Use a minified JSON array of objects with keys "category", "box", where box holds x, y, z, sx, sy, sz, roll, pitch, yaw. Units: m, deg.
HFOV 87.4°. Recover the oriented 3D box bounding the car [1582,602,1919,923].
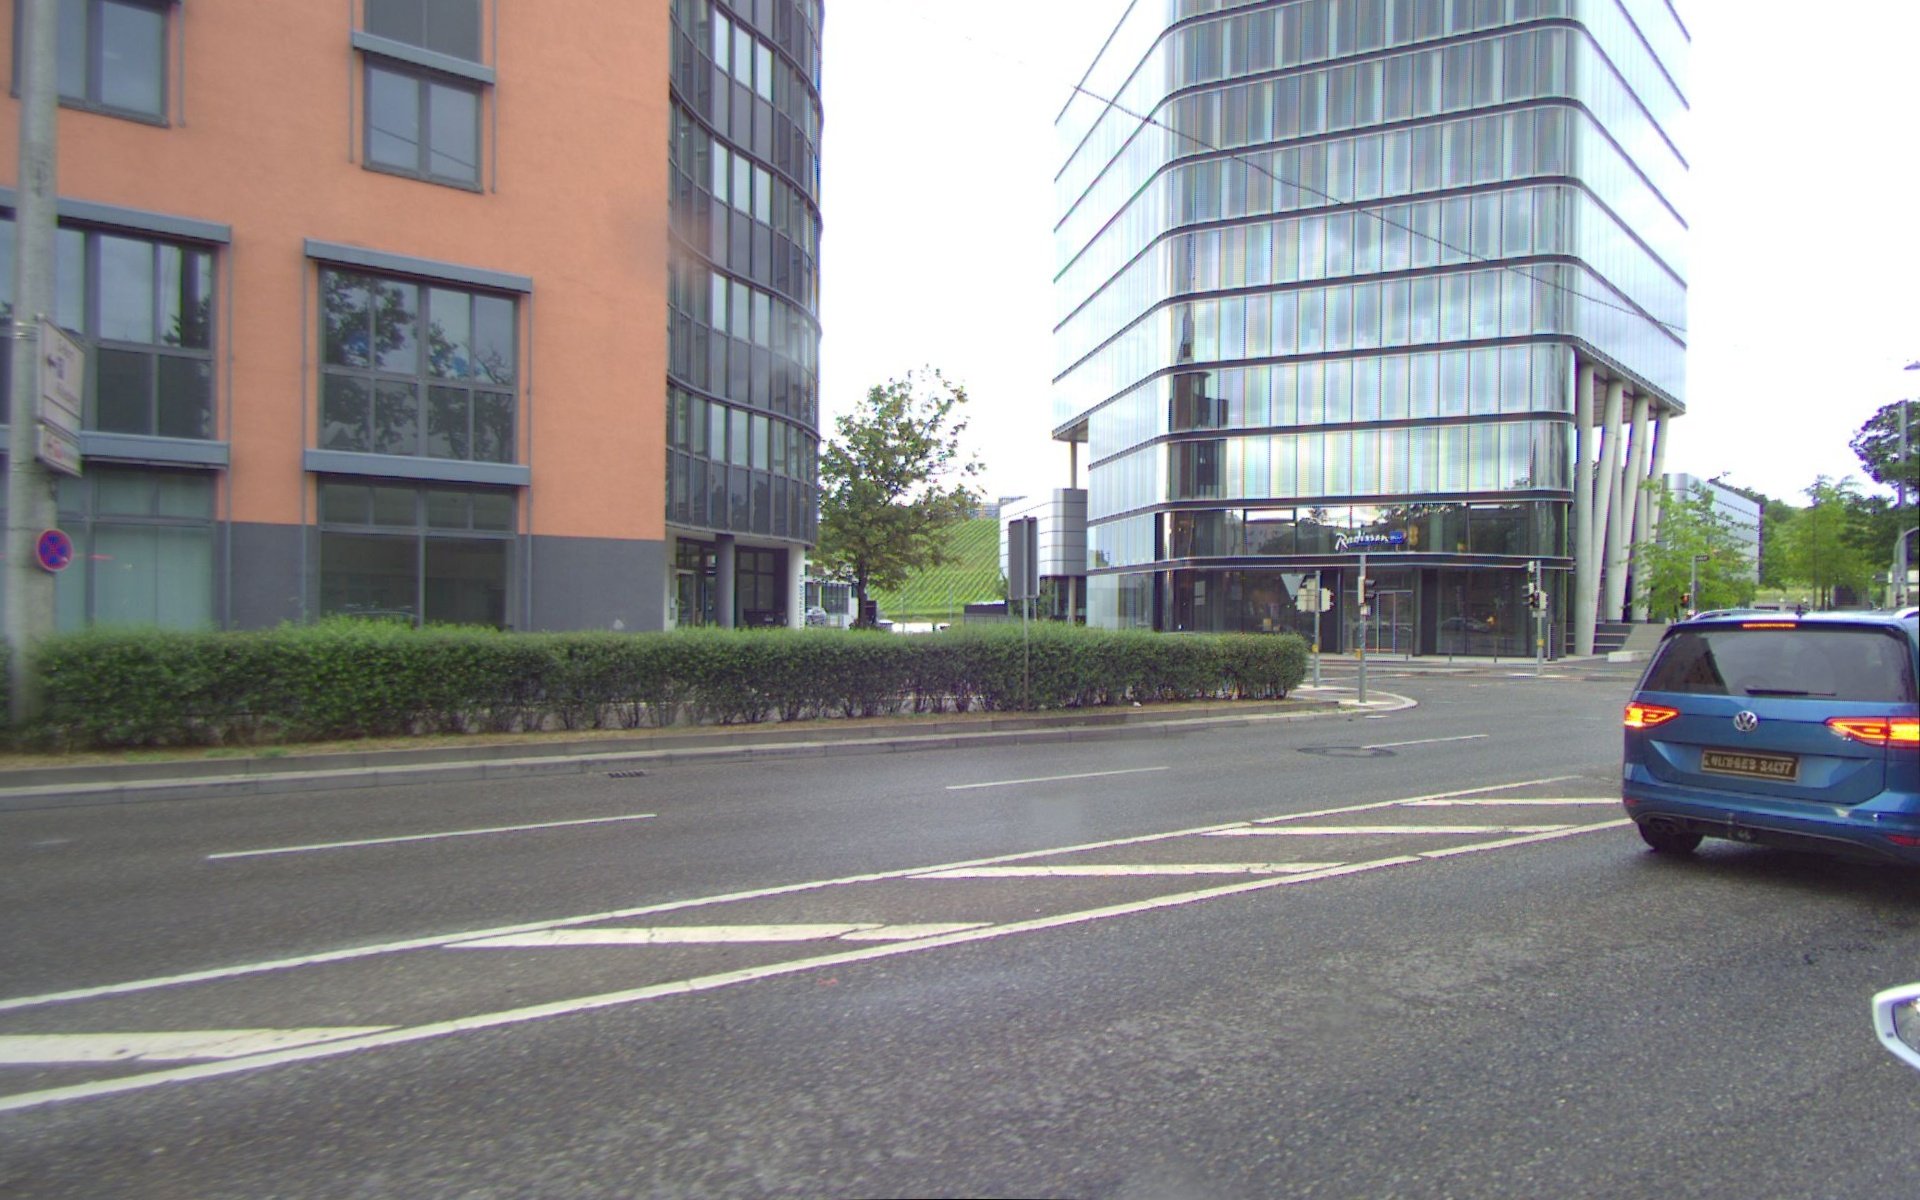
[{"category":"car","box":[6.280,0.874,6.771,4.146,1.617,1.765,1,-2,-29]}]
